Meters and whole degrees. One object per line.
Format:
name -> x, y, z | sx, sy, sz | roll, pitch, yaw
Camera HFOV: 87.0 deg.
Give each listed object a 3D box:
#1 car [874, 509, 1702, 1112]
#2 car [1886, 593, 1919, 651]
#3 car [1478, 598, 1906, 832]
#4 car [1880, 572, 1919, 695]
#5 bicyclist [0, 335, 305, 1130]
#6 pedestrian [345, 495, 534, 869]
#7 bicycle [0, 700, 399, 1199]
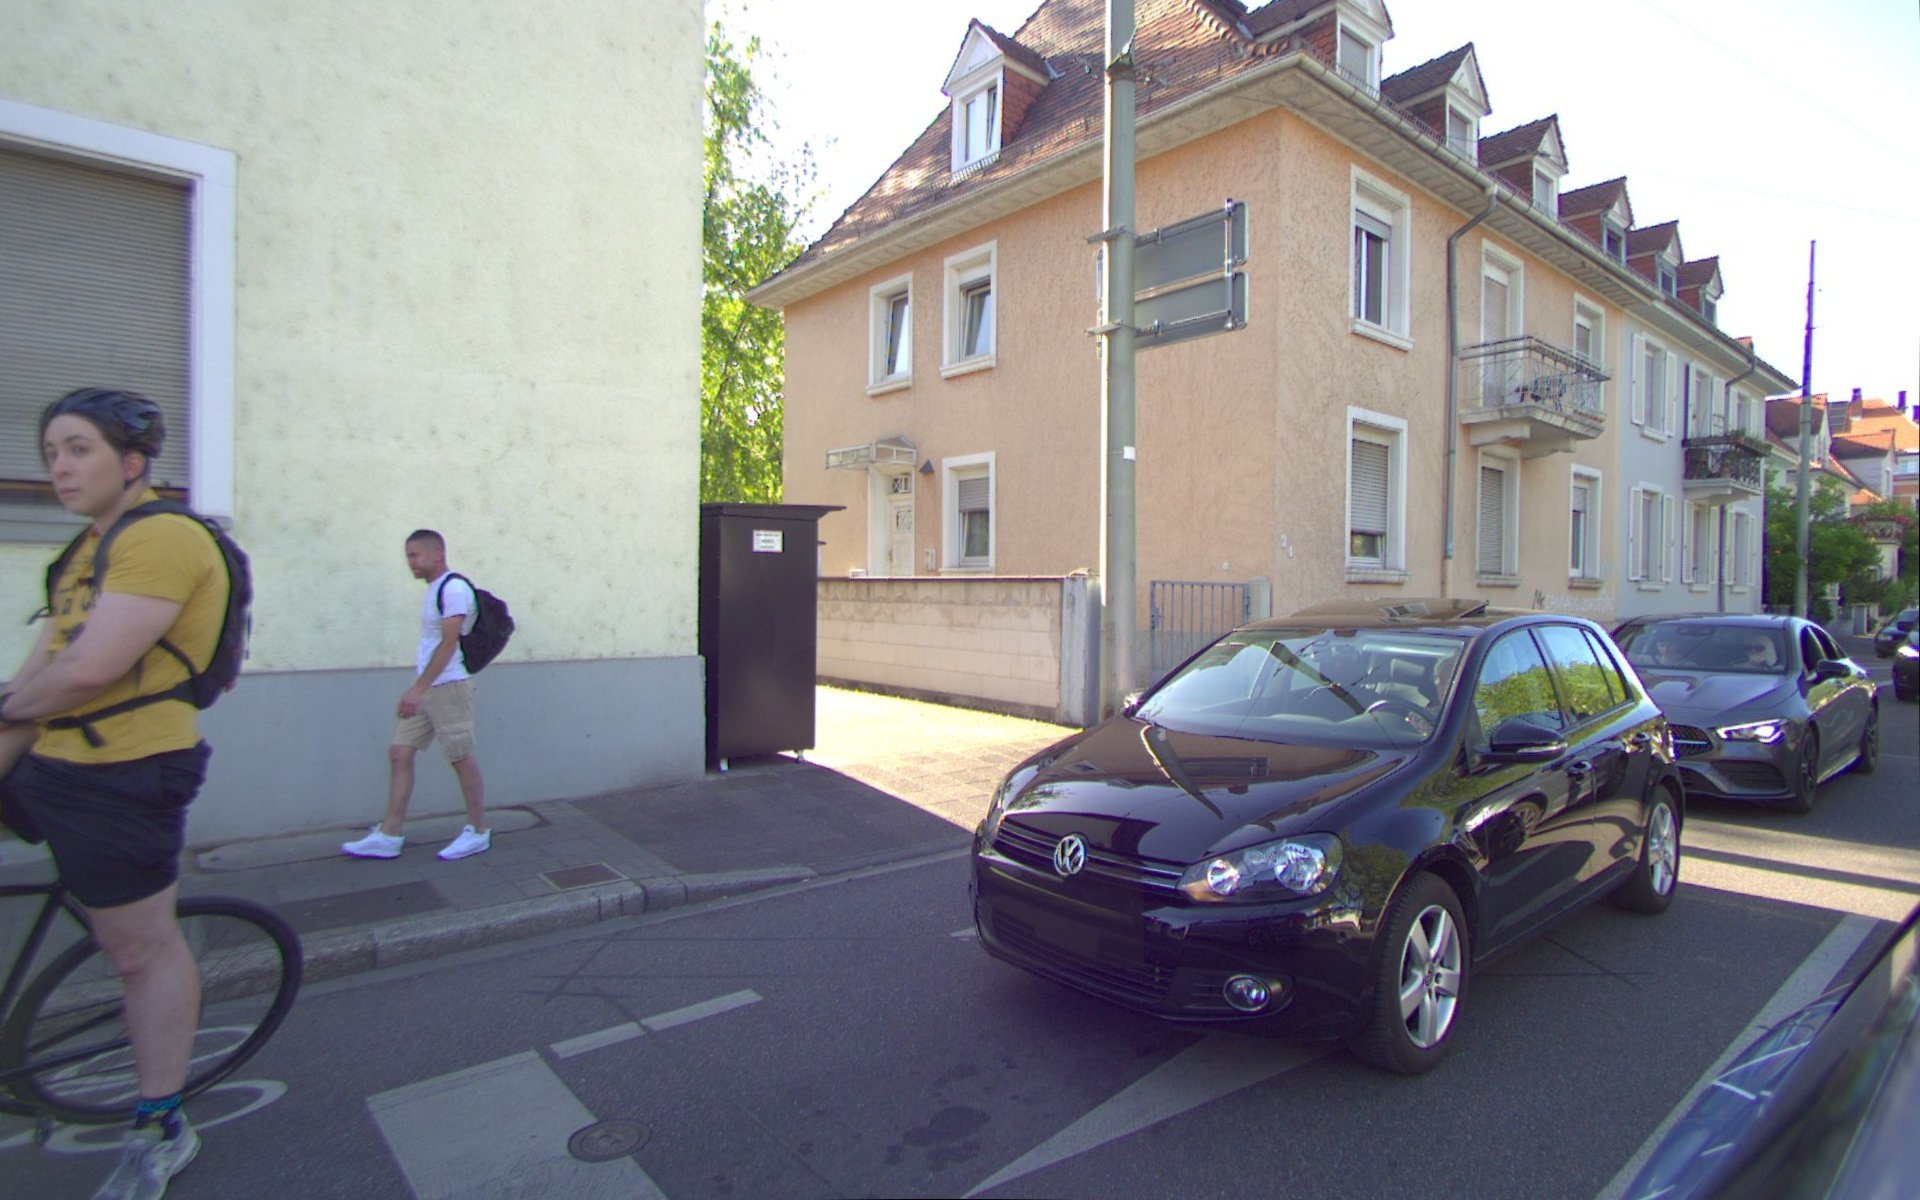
car -> 1.743, 0.576, 4.543 | 3.979, 1.527, 1.731 | 2, -1, -41
car -> 26.678, 0.570, 27.471 | 3.930, 1.476, 1.839 | -1, 0, -41
car -> 6.343, 0.727, 8.575 | 4.413, 1.437, 1.911 | -1, 0, -40
car -> 16.370, 0.479, 16.213 | 4.695, 1.827, 1.864 | -1, 0, -41
bicyclist -> -2.208, 0.276, 2.528 | 0.868, 1.684, 0.807 | 0, 0, -40
pedestrian -> -2.662, 0.376, 5.211 | 0.577, 1.776, 0.641 | 4, 4, 11
bicycle -> -2.378, 0.852, 2.381 | 1.749, 1.044, 0.756 | -1, 0, -40
